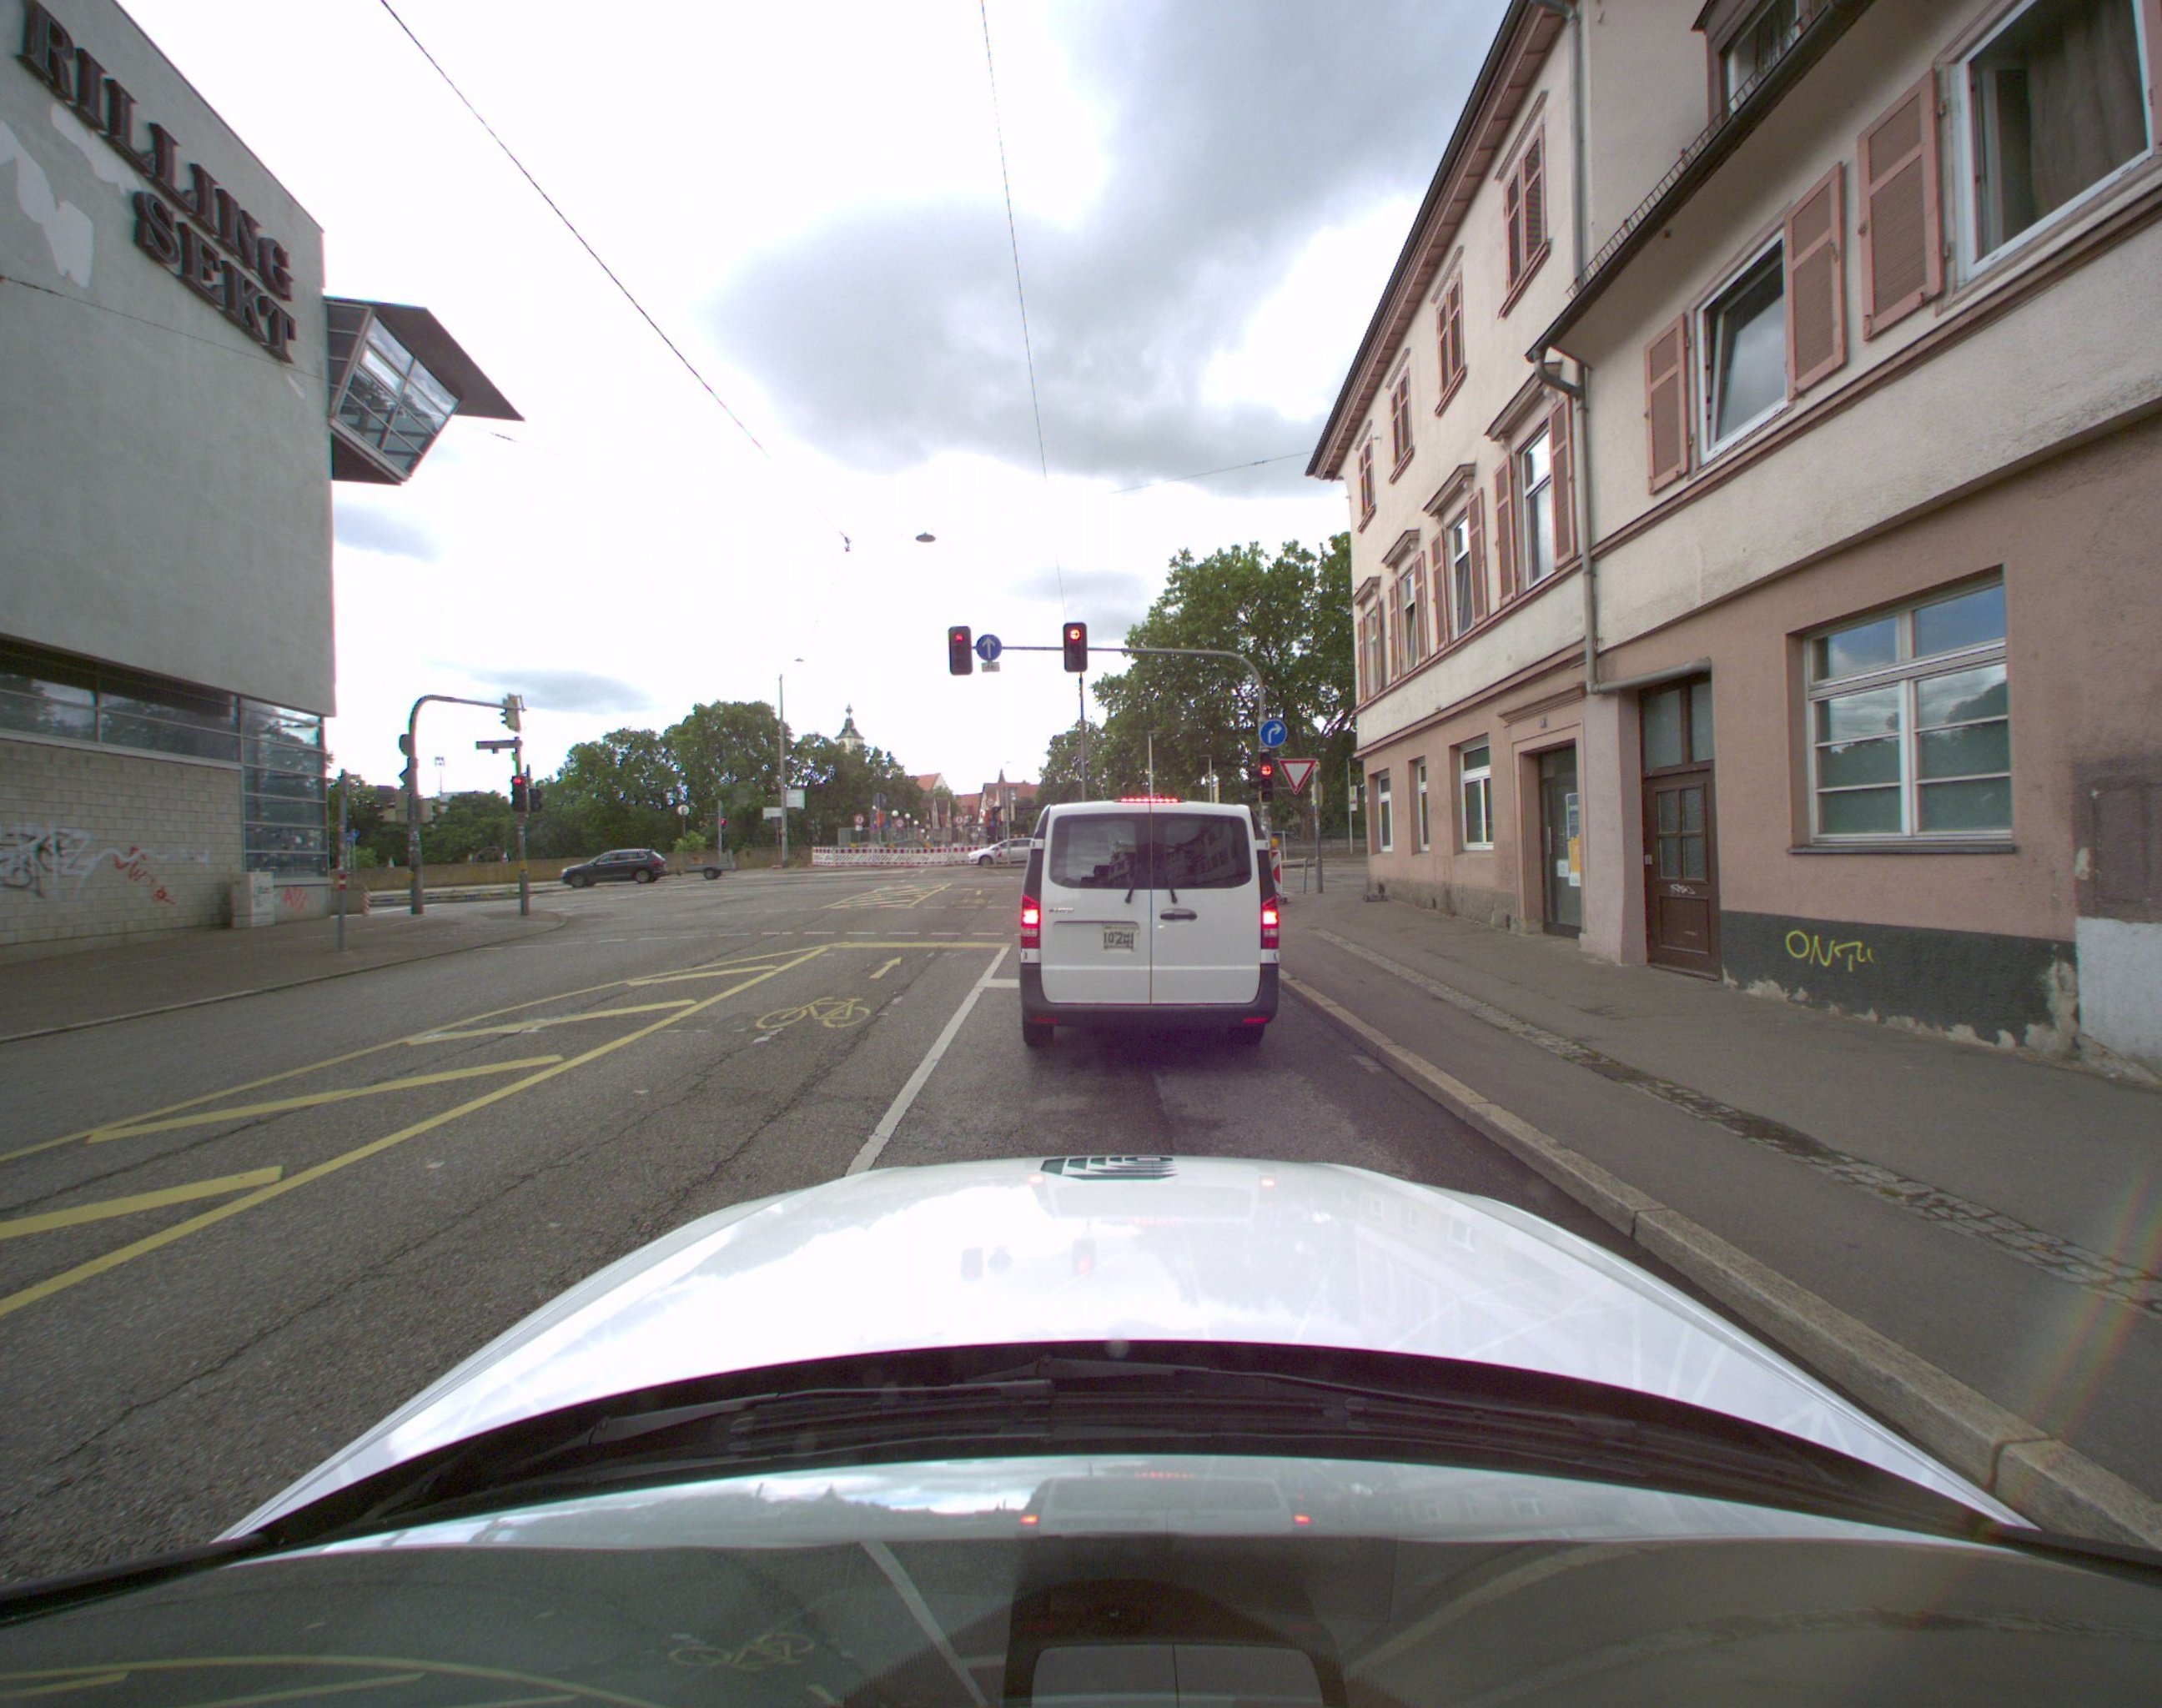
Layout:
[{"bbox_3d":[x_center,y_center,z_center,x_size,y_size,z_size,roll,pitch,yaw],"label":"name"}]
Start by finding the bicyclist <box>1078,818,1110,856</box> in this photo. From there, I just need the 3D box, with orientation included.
[{"bbox_3d":[0.753,-0.982,48.022,1.565,2.156,1.242,-2,0,-12],"label":"bicyclist"}]

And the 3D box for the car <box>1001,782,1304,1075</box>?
[{"bbox_3d":[0.518,0.430,7.510,1.986,1.922,4.250,-1,2,1],"label":"car"}]

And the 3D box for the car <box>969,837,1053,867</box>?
[{"bbox_3d":[-3.754,-0.112,43.107,4.275,1.452,1.894,-1,0,-10],"label":"car"}]

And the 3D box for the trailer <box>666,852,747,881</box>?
[{"bbox_3d":[-18.070,0.576,39.454,3.208,1.158,1.989,-3,2,-17],"label":"trailer"}]

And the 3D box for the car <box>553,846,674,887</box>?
[{"bbox_3d":[-21.852,0.568,38.287,4.530,1.634,1.988,-3,0,-17],"label":"car"}]

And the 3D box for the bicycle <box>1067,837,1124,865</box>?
[{"bbox_3d":[0.846,-0.178,48.104,3.147,1.569,1.464,-2,0,-12],"label":"bicycle"}]

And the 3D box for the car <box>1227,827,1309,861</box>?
[{"bbox_3d":[10.338,-0.531,45.250,3.985,1.740,1.994,-1,-1,-8],"label":"car"}]
